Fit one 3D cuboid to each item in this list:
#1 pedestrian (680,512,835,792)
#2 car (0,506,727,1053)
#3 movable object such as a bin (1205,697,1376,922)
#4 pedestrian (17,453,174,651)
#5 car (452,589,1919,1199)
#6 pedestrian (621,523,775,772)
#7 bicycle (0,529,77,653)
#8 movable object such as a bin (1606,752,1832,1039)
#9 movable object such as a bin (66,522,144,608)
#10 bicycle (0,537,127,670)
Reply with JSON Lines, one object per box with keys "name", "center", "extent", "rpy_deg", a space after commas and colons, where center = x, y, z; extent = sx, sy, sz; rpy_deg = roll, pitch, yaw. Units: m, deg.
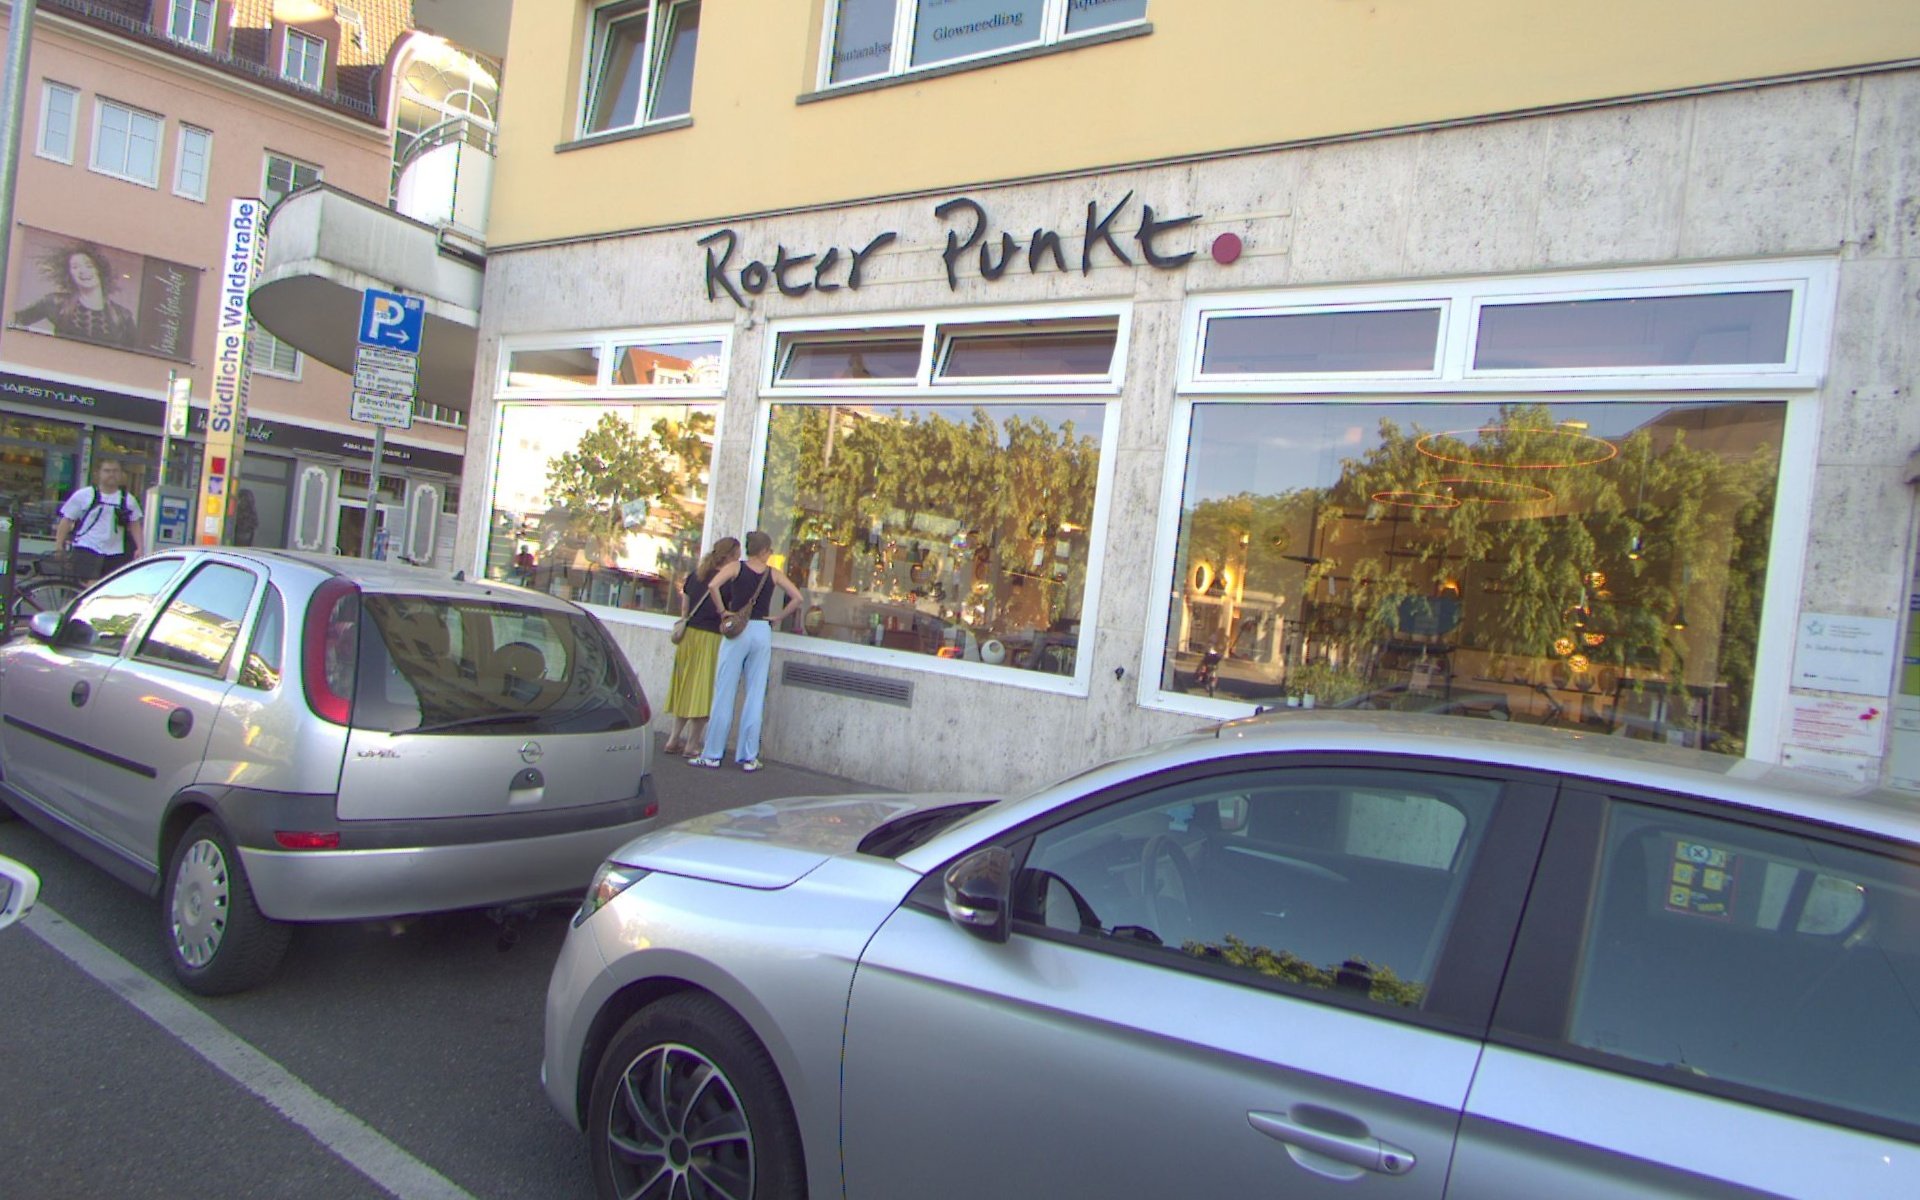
{"name": "pedestrian", "center": [-1.477, 0.343, 7.262], "extent": [0.676, 1.874, 0.885], "rpy_deg": [3, 3, -35]}
{"name": "car", "center": [-2.954, 0.483, 4.460], "extent": [3.520, 1.443, 1.587], "rpy_deg": [6, -2, 32]}
{"name": "movable object such as a bin", "center": [1.815, 1.094, 5.483], "extent": [0.639, 1.035, 0.738], "rpy_deg": [6, -1, 31]}
{"name": "pedestrian", "center": [-8.724, -0.481, 10.157], "extent": [0.967, 1.844, 0.809], "rpy_deg": [6, -1, 35]}
{"name": "car", "center": [0.783, 0.943, 2.280], "extent": [3.624, 1.453, 1.587], "rpy_deg": [6, -2, 30]}
{"name": "pedestrian", "center": [-2.025, 0.350, 7.833], "extent": [0.710, 1.777, 0.787], "rpy_deg": [6, 2, 22]}
{"name": "bicycle", "center": [-9.053, -0.151, 8.797], "extent": [0.642, 1.072, 1.816], "rpy_deg": [7, -1, 33]}
{"name": "movable object such as a bin", "center": [3.376, 1.264, 4.545], "extent": [0.639, 1.035, 0.738], "rpy_deg": [6, -1, 31]}
{"name": "movable object such as a bin", "center": [-11.953, -0.489, 14.064], "extent": [0.716, 1.117, 0.636], "rpy_deg": [7, 2, 35]}
{"name": "bicycle", "center": [-8.162, 0.002, 8.252], "extent": [0.642, 1.057, 1.884], "rpy_deg": [7, 0, 33]}
